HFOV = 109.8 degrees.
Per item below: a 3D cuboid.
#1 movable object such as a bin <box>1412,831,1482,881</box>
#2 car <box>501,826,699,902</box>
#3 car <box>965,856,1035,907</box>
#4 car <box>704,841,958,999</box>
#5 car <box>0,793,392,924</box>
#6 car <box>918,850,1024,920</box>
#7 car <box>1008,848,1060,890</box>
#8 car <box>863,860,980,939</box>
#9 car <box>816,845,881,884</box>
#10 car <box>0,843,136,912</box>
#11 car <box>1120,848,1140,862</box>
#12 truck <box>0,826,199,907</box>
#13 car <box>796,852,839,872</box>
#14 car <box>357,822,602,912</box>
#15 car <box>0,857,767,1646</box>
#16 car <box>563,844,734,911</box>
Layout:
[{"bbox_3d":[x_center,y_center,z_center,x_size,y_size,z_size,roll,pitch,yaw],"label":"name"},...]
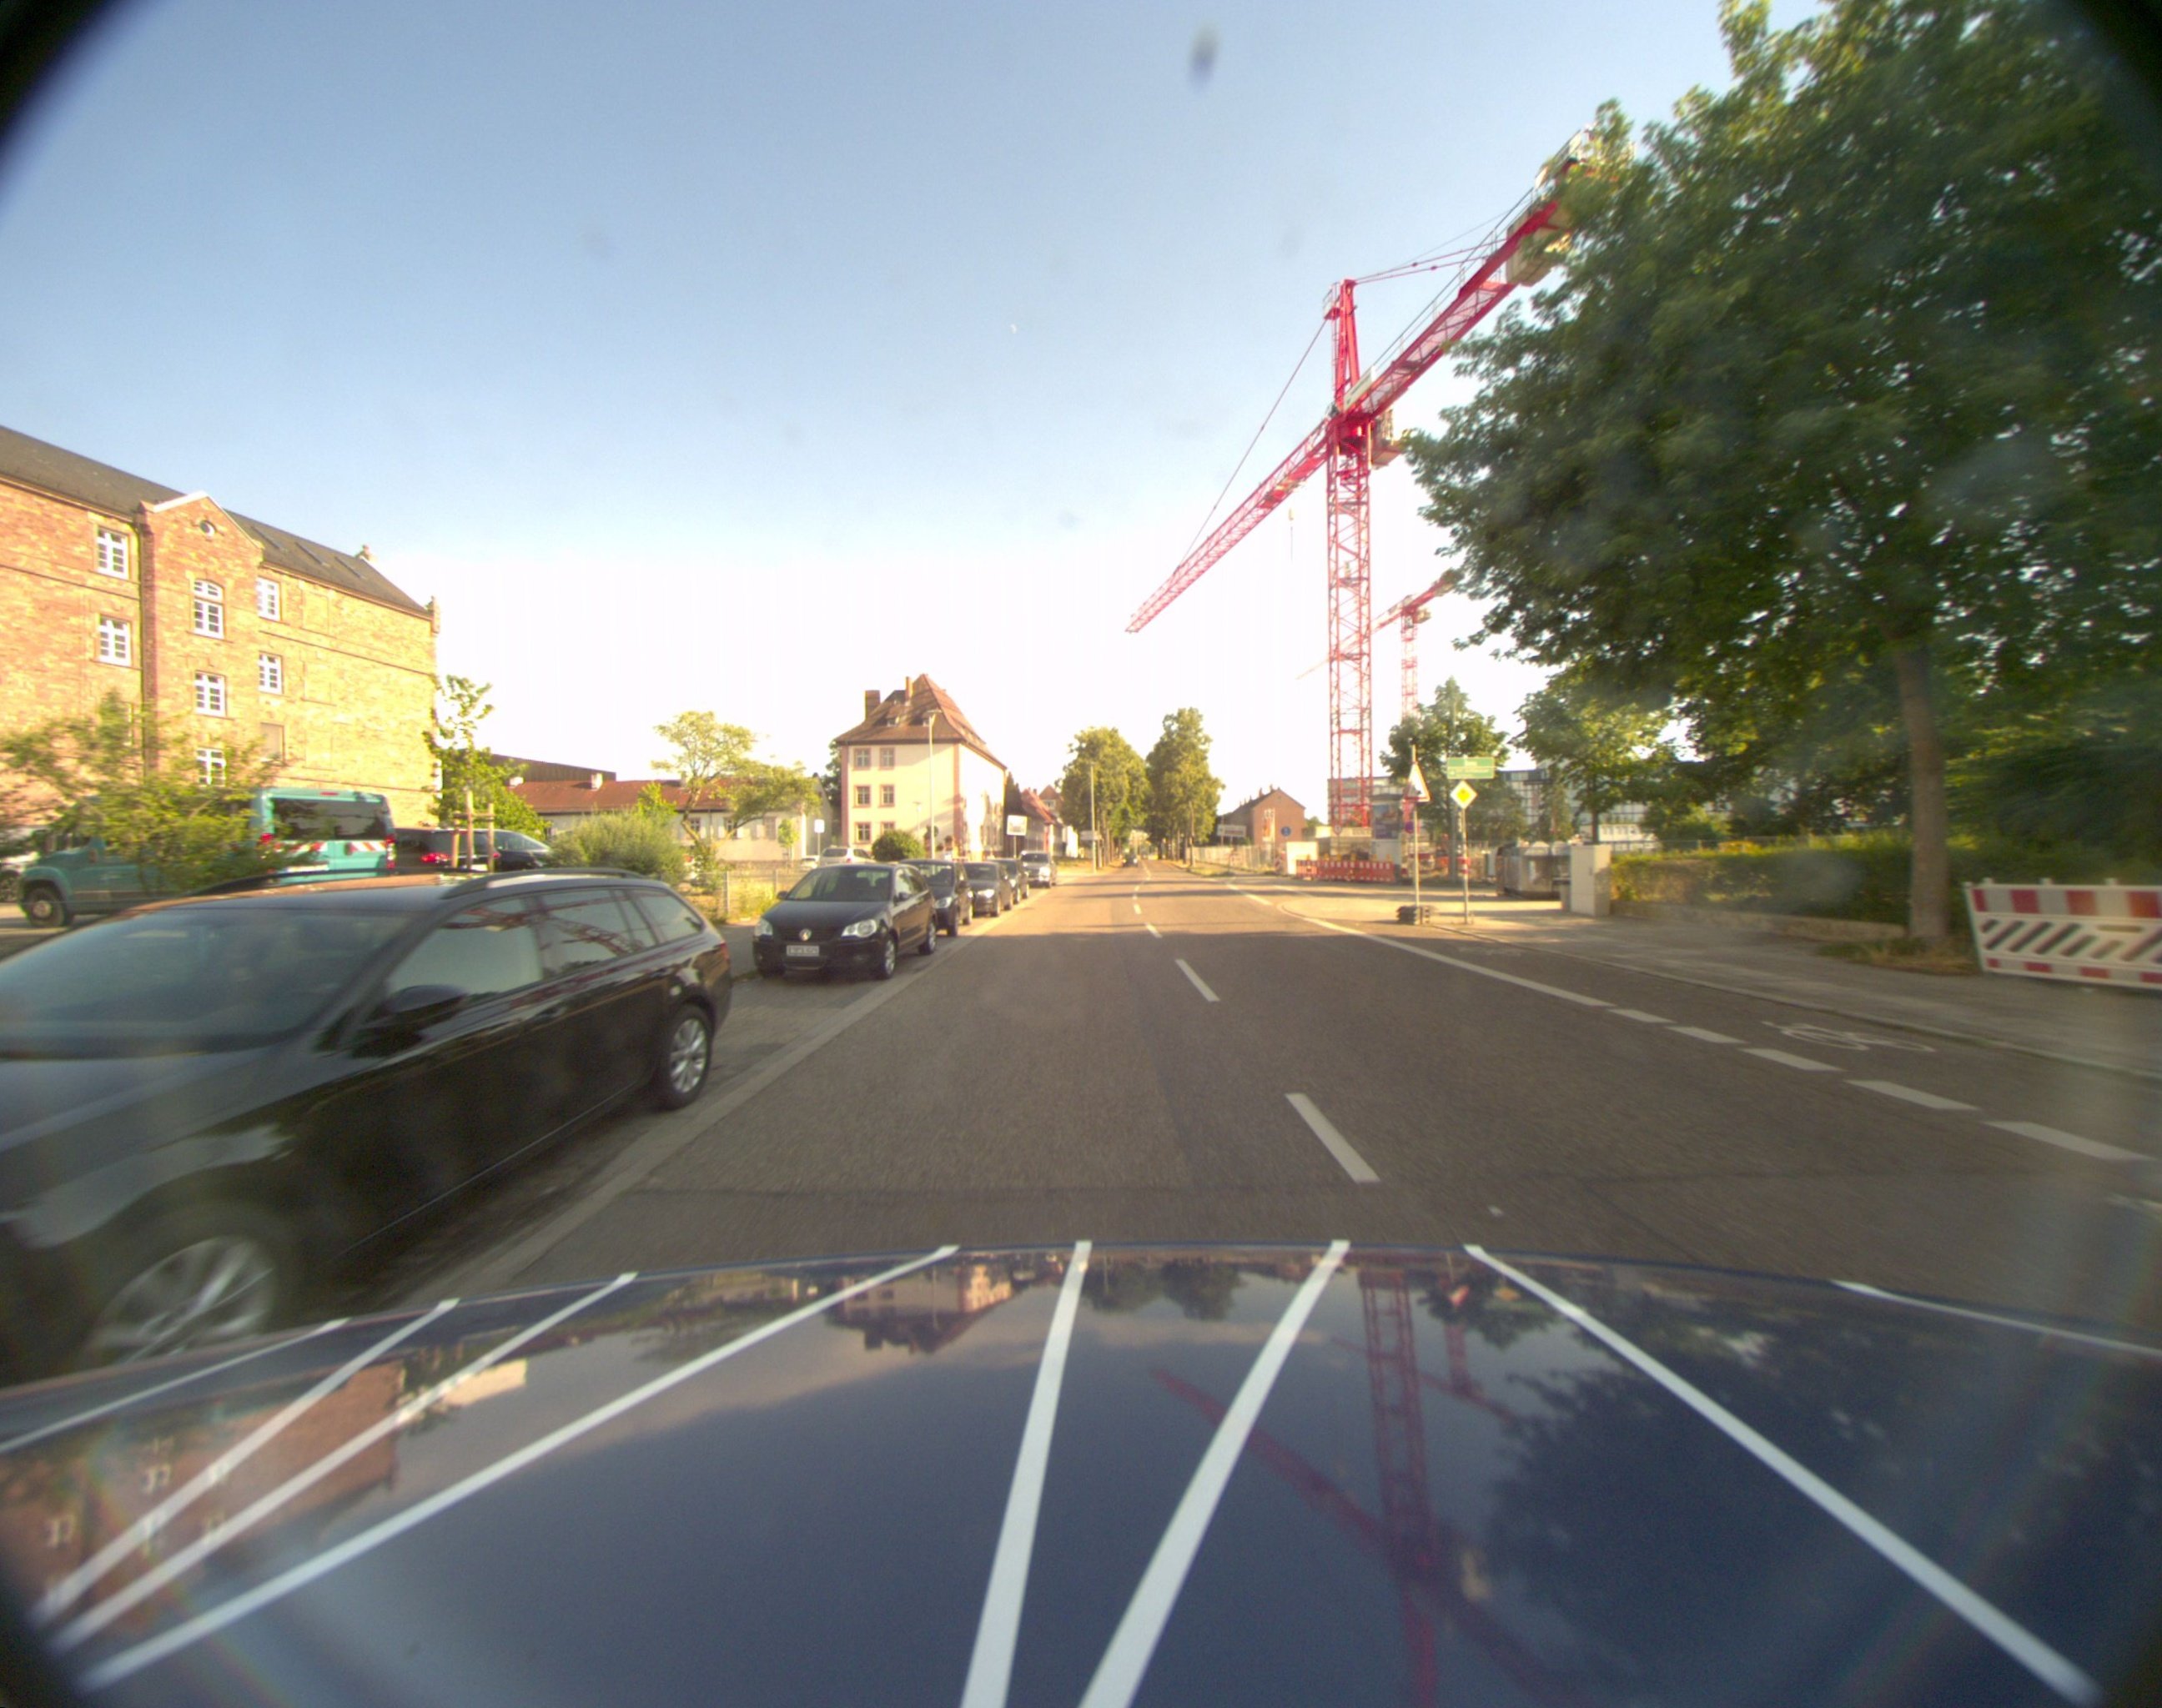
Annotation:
[{"bbox_3d":[40.980,0.057,85.677,4.094,5.035,12.230,-3,1,12],"label":"movable object such as a bin"},{"bbox_3d":[-12.976,0.240,20.703,3.997,1.784,2.000,-3,1,1],"label":"car"},{"bbox_3d":[-2.744,0.881,26.590,1.746,1.532,4.439,0,1,3],"label":"car"},{"bbox_3d":[-3.227,0.719,10.952,1.906,1.769,4.582,0,1,3],"label":"car"},{"bbox_3d":[-14.271,0.054,12.474,3.997,1.784,2.000,-3,1,1],"label":"car"},{"bbox_3d":[-2.905,0.760,21.167,1.906,1.521,4.810,-4,1,3],"label":"car"},{"bbox_3d":[-2.194,0.658,37.062,1.925,1.769,4.810,2,2,3],"label":"car"},{"bbox_3d":[-3.190,0.886,15.946,1.655,1.427,3.960,-1,-1,-1],"label":"car"},{"bbox_3d":[-11.117,0.448,36.561,1.657,1.652,4.000,-3,1,3],"label":"car"},{"bbox_3d":[-27.125,0.638,19.174,4.487,1.593,1.732,-3,1,4],"label":"car"},{"bbox_3d":[5.561,0.095,86.585,1.776,1.492,3.672,-1,0,-3],"label":"car"},{"bbox_3d":[-37.373,0.484,28.179,6.438,2.668,2.542,-3,2,4],"label":"truck"},{"bbox_3d":[-22.172,0.654,63.997,1.998,1.445,4.000,-3,1,3],"label":"car"},{"bbox_3d":[-13.791,0.270,17.609,3.996,1.784,2.000,-3,1,2],"label":"car"},{"bbox_3d":[-3.310,0.884,3.300,1.891,1.552,4.944,2,1,-1],"label":"car"},{"bbox_3d":[-13.188,0.684,23.361,3.997,1.784,2.000,-3,1,1],"label":"car"}]
